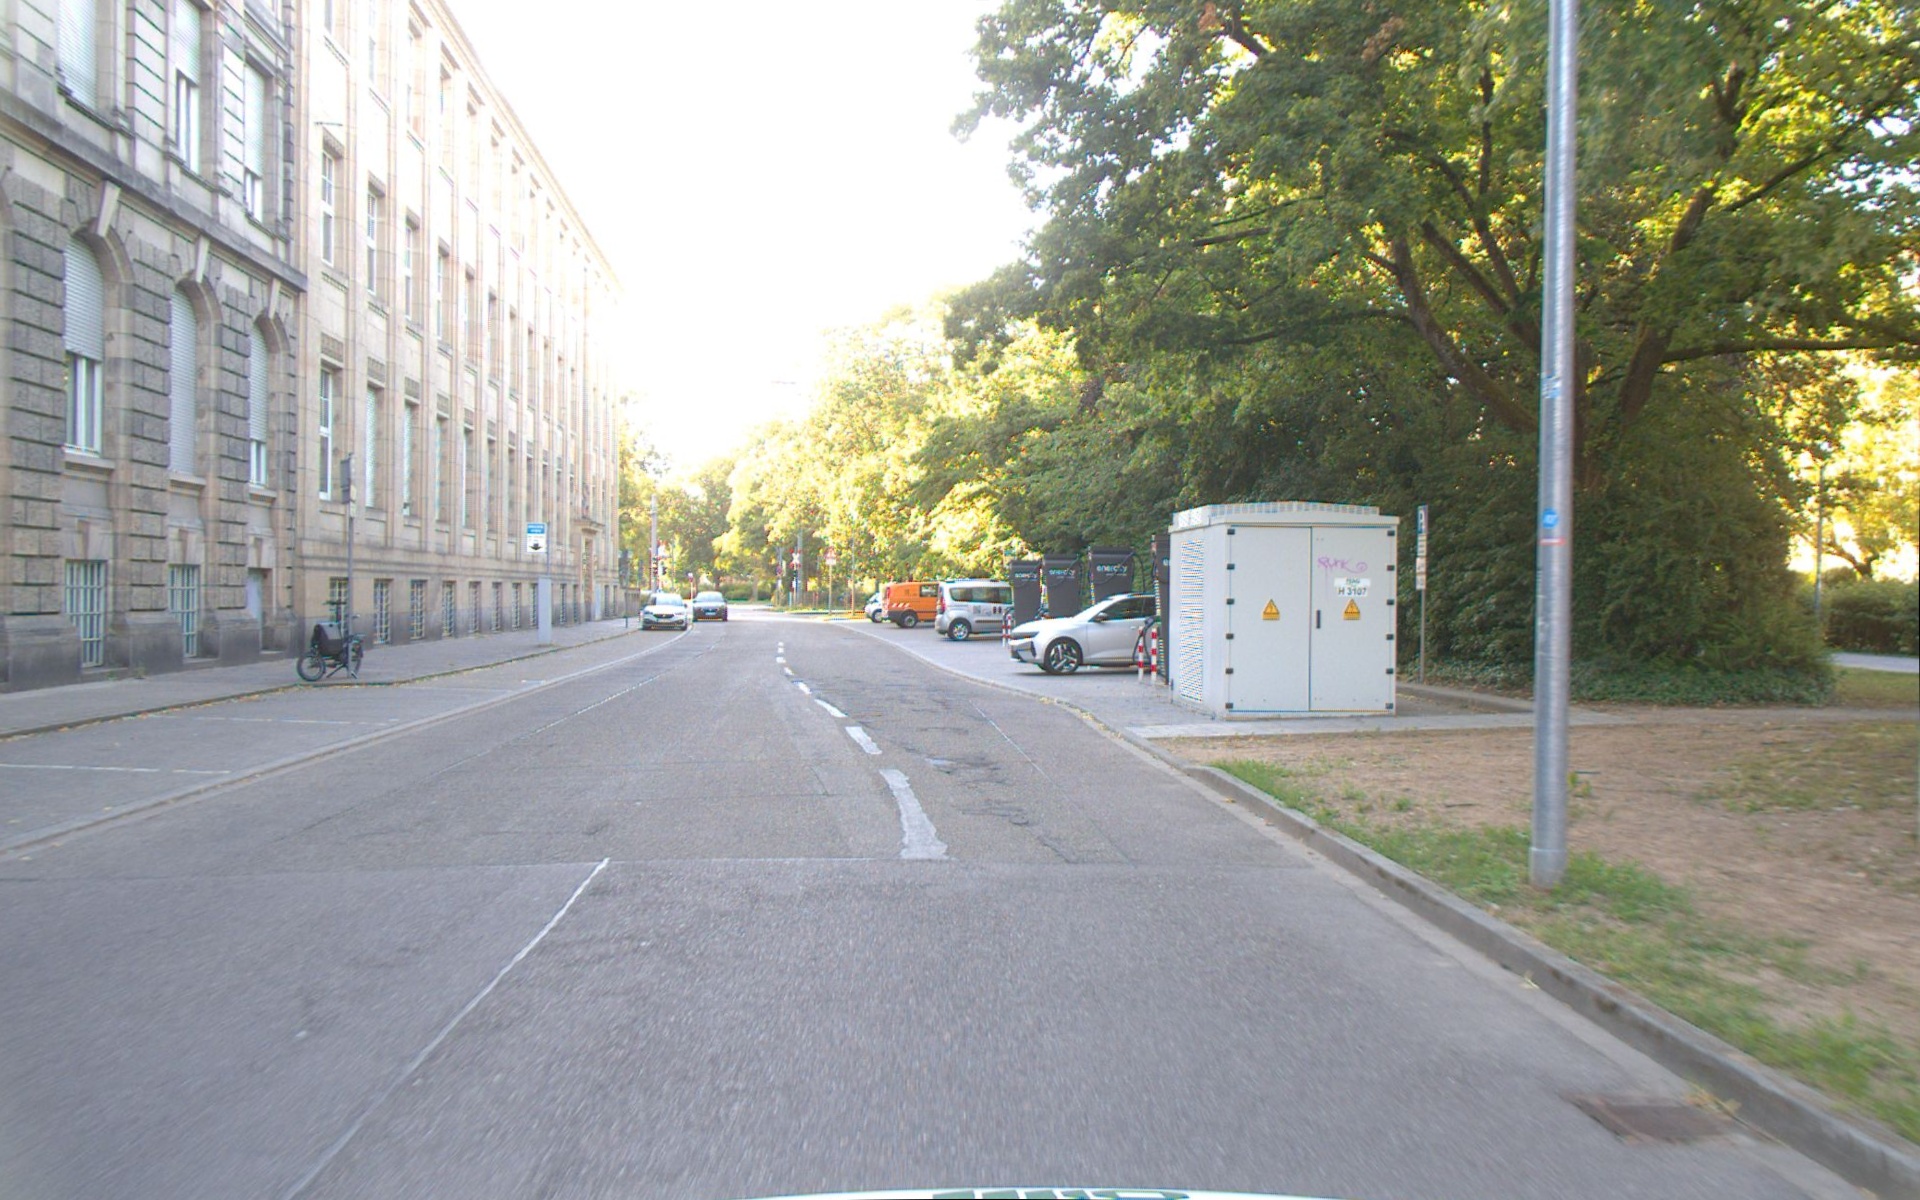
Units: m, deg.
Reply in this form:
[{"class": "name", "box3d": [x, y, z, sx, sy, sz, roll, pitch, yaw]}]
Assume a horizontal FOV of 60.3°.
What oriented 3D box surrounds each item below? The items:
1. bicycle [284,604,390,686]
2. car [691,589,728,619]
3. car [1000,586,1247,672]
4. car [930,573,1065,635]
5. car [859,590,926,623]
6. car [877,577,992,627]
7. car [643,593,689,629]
[{"class": "bicycle", "box3d": [-9.235, 0.644, 24.608, 0.835, 1.121, 1.981, 2, 0, -2]}, {"class": "car", "box3d": [-12.878, 0.178, 85.082, 1.844, 1.492, 4.365, 0, 1, -8]}, {"class": "car", "box3d": [3.038, 0.517, 31.147, 4.356, 1.495, 1.780, -1, 0, -7]}, {"class": "car", "box3d": [1.179, 0.123, 53.235, 4.146, 1.892, 1.998, -1, 0, -5]}, {"class": "car", "box3d": [-3.397, 0.325, 82.702, 3.089, 1.529, 1.536, -2, 0, -13]}, {"class": "car", "box3d": [-1.116, 0.071, 72.317, 4.735, 2.049, 1.796, -2, 0, -13]}, {"class": "car", "box3d": [-12.025, 0.445, 67.838, 1.695, 1.421, 4.364, 1, 0, -8]}]
